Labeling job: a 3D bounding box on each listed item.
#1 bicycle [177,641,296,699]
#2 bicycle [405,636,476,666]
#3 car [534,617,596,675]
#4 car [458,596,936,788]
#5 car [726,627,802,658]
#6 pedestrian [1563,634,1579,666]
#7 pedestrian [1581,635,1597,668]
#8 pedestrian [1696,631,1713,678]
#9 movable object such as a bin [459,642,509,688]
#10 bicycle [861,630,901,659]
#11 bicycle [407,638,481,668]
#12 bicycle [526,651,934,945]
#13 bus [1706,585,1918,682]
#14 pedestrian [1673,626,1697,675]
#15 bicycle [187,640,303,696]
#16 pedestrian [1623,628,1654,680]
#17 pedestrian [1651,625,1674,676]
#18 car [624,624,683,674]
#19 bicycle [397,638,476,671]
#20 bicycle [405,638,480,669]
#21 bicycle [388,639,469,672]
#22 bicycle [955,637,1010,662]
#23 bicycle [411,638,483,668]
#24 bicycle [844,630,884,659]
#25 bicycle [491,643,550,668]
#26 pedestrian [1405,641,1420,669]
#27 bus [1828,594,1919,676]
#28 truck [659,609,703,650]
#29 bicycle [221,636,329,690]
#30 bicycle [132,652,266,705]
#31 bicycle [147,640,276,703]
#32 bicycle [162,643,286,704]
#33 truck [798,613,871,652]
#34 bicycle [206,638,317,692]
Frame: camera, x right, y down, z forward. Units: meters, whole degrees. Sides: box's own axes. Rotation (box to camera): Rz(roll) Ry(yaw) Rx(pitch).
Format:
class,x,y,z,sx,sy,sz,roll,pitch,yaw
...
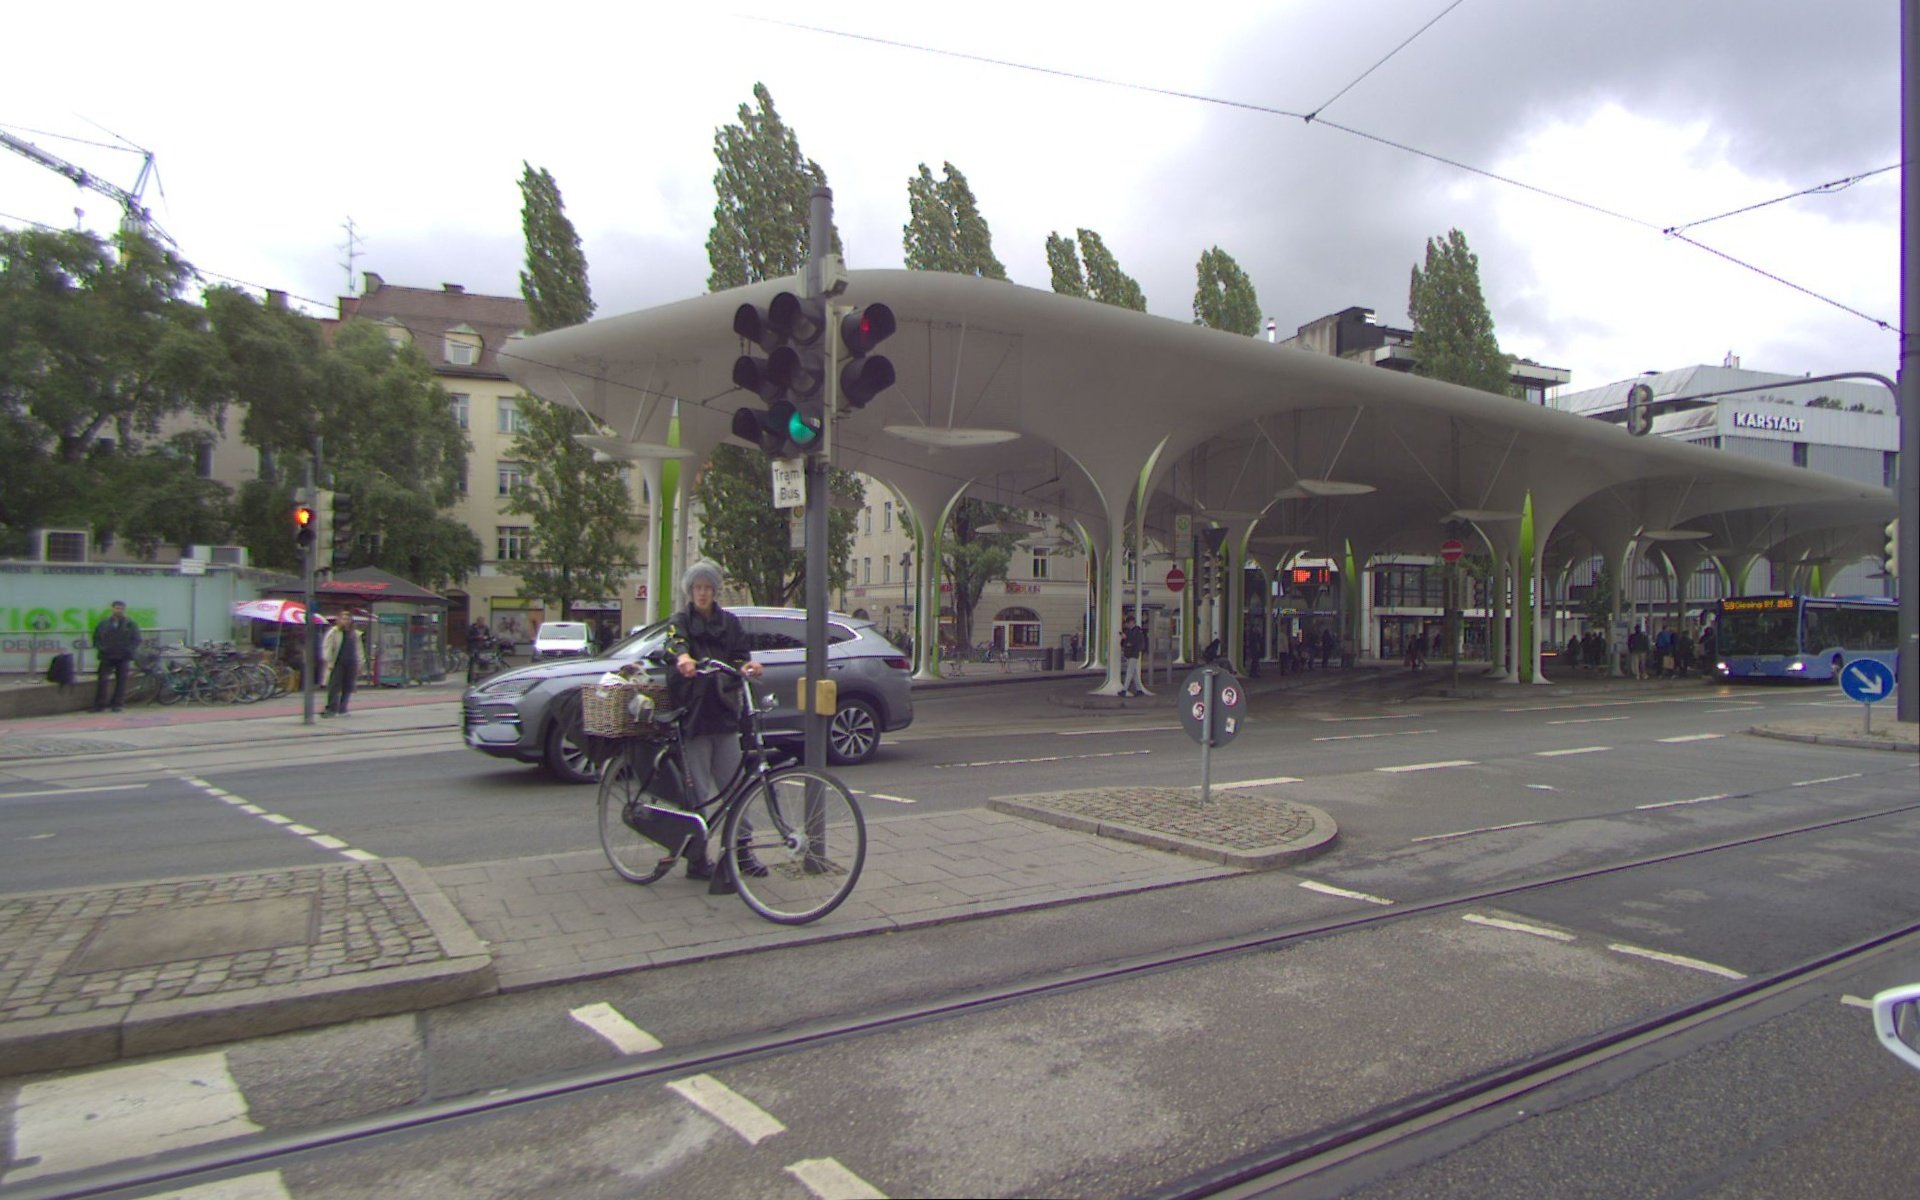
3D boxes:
class,x,y,z,sx,sy,sz,roll,pitch,yaw
bicycle,-14.225,1.376,19.787,1.819,1.111,0.478,1,-1,-17
bicycle,-21.001,2.058,40.618,2.494,1.145,0.639,2,-1,-30
car,-14.266,1.628,36.461,1.842,1.973,4.911,1,-2,-19
car,-2.705,0.891,10.748,4.626,1.660,1.853,2,-3,-32
car,-12.625,2.735,64.943,4.717,1.945,1.997,1,-2,-10
pedestrian,31.441,2.575,51.659,0.543,1.632,0.568,2,-1,-39
pedestrian,31.932,2.597,50.985,0.543,1.632,0.568,2,-1,-39
pedestrian,25.818,1.881,34.842,0.387,1.626,0.390,1,-1,-35
movable object such as a bin,-11.980,1.611,25.268,0.947,1.098,1.325,1,-2,-33
bicycle,-4.792,2.673,60.672,0.989,1.634,3.597,1,-1,-29
bicycle,-19.922,2.040,38.793,2.494,1.145,0.639,1,-1,-30
bicycle,-1.229,0.900,5.112,2.190,1.165,0.506,2,-1,28
bus,30.335,1.243,35.575,10.399,3.047,2.647,2,-3,-32
pedestrian,26.233,1.819,36.357,0.566,1.756,0.502,1,-1,-30
bicycle,-14.400,1.367,20.282,1.819,1.111,0.478,1,-1,-17
pedestrian,23.363,1.842,34.586,0.874,1.744,0.707,2,-1,-41
pedestrian,24.346,1.740,34.817,0.558,1.766,0.752,-1,-2,41
car,-10.762,1.673,35.132,1.803,1.637,3.983,1,-1,-19
bicycle,-19.136,1.987,36.742,2.494,1.145,0.639,2,-1,-30
bicycle,-19.602,2.016,38.059,2.494,1.145,0.639,2,-1,-30
bicycle,-18.940,1.978,35.827,2.494,1.145,0.639,1,-2,-30
bicycle,1.222,2.707,54.632,2.886,1.331,0.841,1,-1,-6
bicycle,-20.312,2.091,39.785,2.494,1.145,0.639,1,-2,-30
bicycle,-5.775,2.647,60.178,0.989,1.634,3.597,1,-1,-29
bicycle,-20.269,2.564,46.370,2.395,1.143,0.818,1,-1,-21
pedestrian,21.410,2.604,47.509,0.563,1.282,0.520,0,-1,15
bus,37.961,1.446,40.146,7.425,3.047,2.648,1,-3,-30
truck,-19.099,2.009,68.530,2.259,2.658,5.324,1,-1,-22
bicycle,-14.692,1.347,21.584,1.819,1.111,0.478,1,-1,-17
bicycle,-13.601,1.394,17.998,1.823,0.906,0.478,1,-1,-23
bicycle,-13.770,1.312,18.526,1.821,1.111,0.478,1,-1,-20
bicycle,-13.980,1.389,19.130,1.819,1.111,0.478,1,-1,-17
truck,-8.791,2.225,69.761,2.412,2.546,7.125,1,-2,-31
bicycle,-14.582,1.355,21.010,1.819,1.111,0.478,1,-1,-17
